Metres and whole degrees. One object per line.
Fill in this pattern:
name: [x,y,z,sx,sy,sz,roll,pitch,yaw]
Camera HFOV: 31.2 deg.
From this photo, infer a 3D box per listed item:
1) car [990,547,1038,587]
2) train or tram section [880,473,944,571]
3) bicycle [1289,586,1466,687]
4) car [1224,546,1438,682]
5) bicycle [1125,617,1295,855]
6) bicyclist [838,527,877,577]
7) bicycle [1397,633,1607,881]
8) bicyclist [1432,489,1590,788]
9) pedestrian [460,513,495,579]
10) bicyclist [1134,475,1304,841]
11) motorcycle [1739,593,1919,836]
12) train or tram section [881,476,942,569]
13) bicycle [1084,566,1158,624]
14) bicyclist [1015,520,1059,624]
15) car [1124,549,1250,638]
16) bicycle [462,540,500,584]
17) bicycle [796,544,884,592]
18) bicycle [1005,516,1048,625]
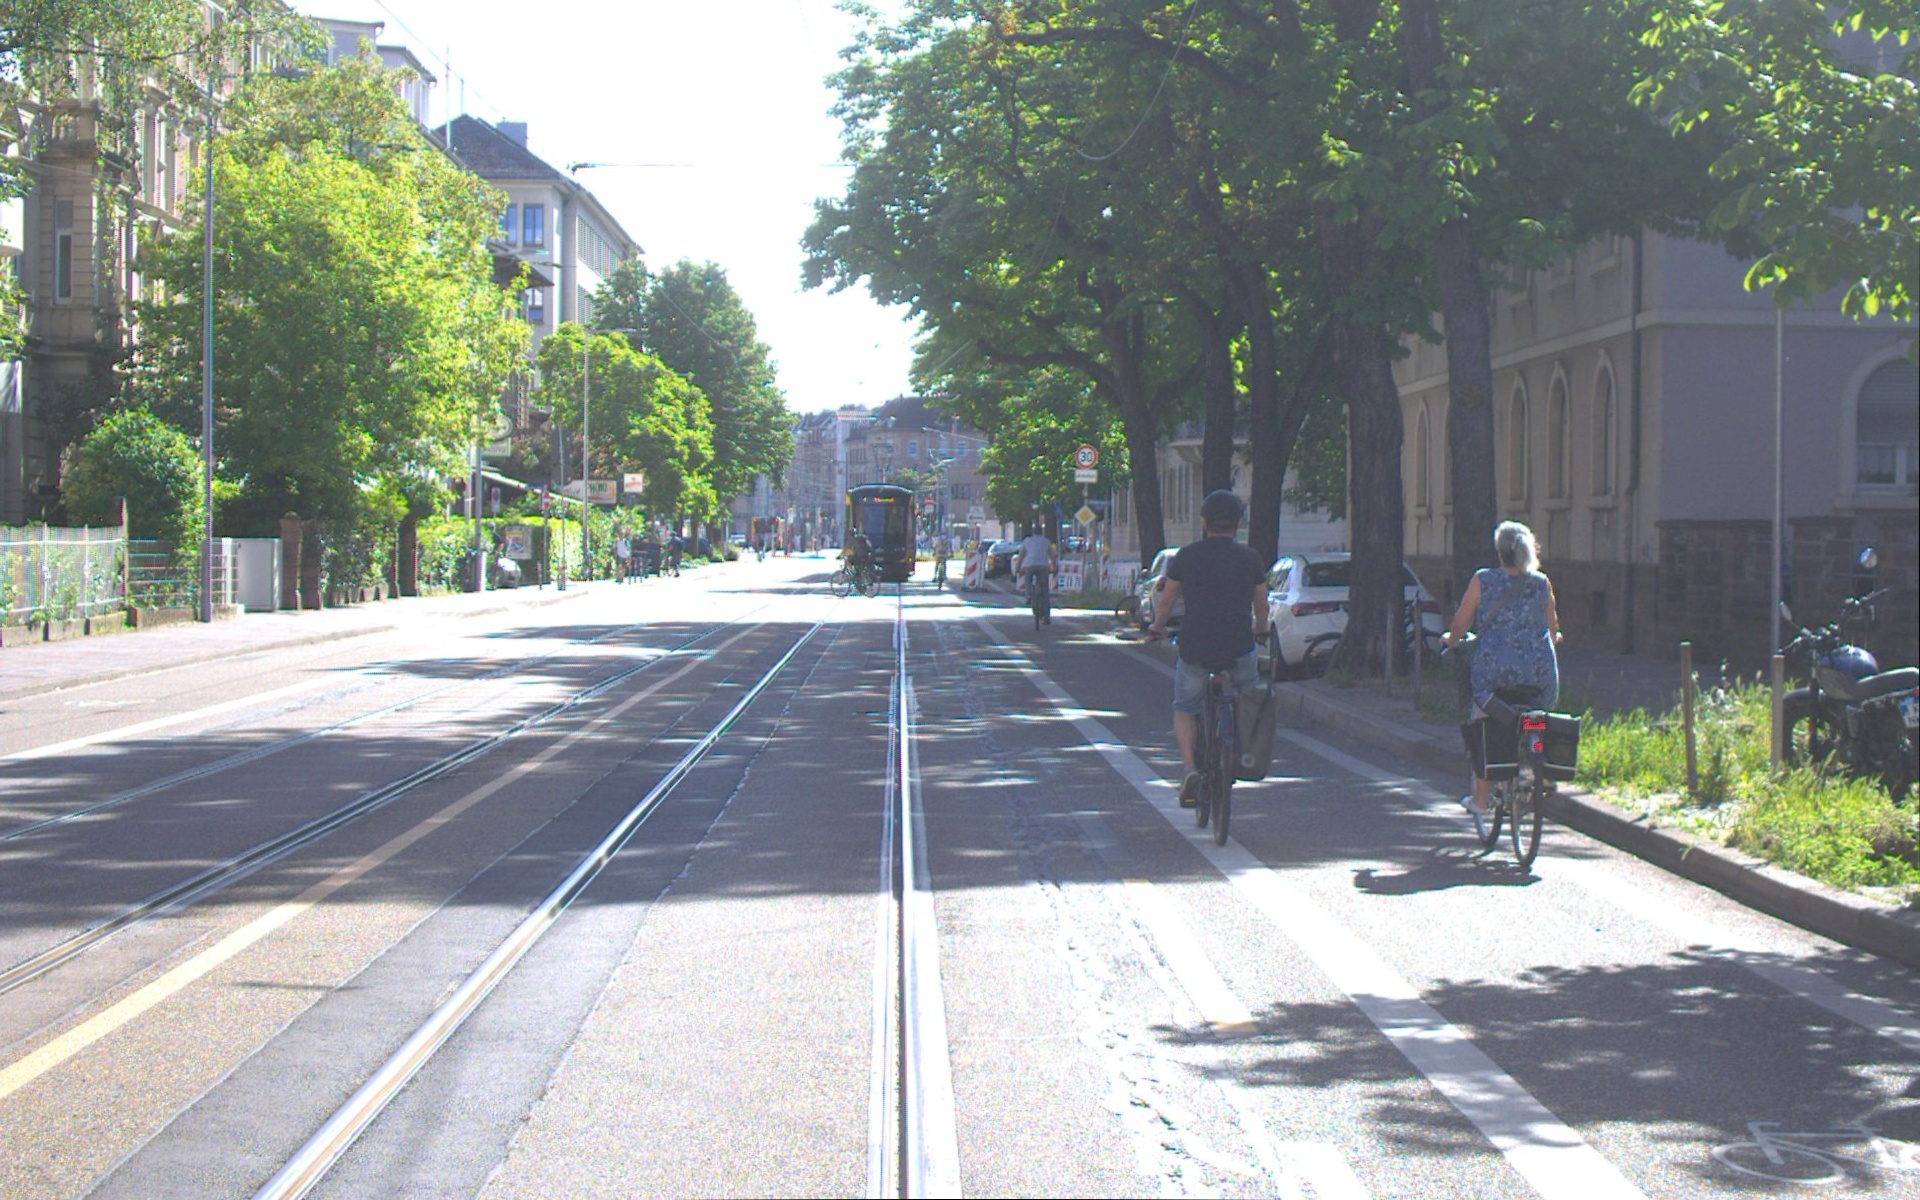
car: [2.203,-1.379,141.186,1.754,1.546,3.677,2,1,-1]
train or tram section: [-1.780,-2.842,126.223,2.153,3.420,6.612,2,1,-1]
bicycle: [4.452,0.388,36.720,1.792,1.016,0.620,-1,1,-1]
car: [4.205,0.116,39.624,1.628,1.431,4.666,0,1,-4]
bicycle: [1.278,0.679,17.886,0.692,1.108,1.719,2,1,-1]
bicyclist: [-2.681,-1.250,89.918,0.772,1.287,0.733,2,1,15]
bicycle: [2.725,0.762,17.467,0.692,1.108,1.917,2,1,-1]
bicyclist: [2.778,0.186,17.380,0.635,1.463,0.616,2,1,-1]
pedestrian: [-12.773,-1.421,90.963,0.770,1.706,0.669,2,1,-1]
bicyclist: [1.341,0.288,17.912,0.727,1.842,0.837,2,1,-2]
motorcycle: [4.850,0.592,18.713,0.495,1.186,1.862,-3,2,-8]
train or tram section: [-1.903,-2.972,132.832,2.153,3.420,6.612,2,1,-1]
bicycle: [2.974,-0.092,63.423,1.270,1.020,0.704,3,0,7]
bicyclist: [1.342,-0.499,60.104,0.645,1.789,0.956,2,1,-1]
car: [3.807,-0.136,58.200,1.748,1.415,4.000,0,1,-2]
bicycle: [-12.382,-0.985,88.878,0.632,1.065,1.832,2,1,-18]
bicycle: [-3.142,-0.837,90.048,2.141,1.167,0.802,3,1,14]
bicycle: [1.166,-0.536,60.670,0.663,1.853,2.260,2,1,0]
